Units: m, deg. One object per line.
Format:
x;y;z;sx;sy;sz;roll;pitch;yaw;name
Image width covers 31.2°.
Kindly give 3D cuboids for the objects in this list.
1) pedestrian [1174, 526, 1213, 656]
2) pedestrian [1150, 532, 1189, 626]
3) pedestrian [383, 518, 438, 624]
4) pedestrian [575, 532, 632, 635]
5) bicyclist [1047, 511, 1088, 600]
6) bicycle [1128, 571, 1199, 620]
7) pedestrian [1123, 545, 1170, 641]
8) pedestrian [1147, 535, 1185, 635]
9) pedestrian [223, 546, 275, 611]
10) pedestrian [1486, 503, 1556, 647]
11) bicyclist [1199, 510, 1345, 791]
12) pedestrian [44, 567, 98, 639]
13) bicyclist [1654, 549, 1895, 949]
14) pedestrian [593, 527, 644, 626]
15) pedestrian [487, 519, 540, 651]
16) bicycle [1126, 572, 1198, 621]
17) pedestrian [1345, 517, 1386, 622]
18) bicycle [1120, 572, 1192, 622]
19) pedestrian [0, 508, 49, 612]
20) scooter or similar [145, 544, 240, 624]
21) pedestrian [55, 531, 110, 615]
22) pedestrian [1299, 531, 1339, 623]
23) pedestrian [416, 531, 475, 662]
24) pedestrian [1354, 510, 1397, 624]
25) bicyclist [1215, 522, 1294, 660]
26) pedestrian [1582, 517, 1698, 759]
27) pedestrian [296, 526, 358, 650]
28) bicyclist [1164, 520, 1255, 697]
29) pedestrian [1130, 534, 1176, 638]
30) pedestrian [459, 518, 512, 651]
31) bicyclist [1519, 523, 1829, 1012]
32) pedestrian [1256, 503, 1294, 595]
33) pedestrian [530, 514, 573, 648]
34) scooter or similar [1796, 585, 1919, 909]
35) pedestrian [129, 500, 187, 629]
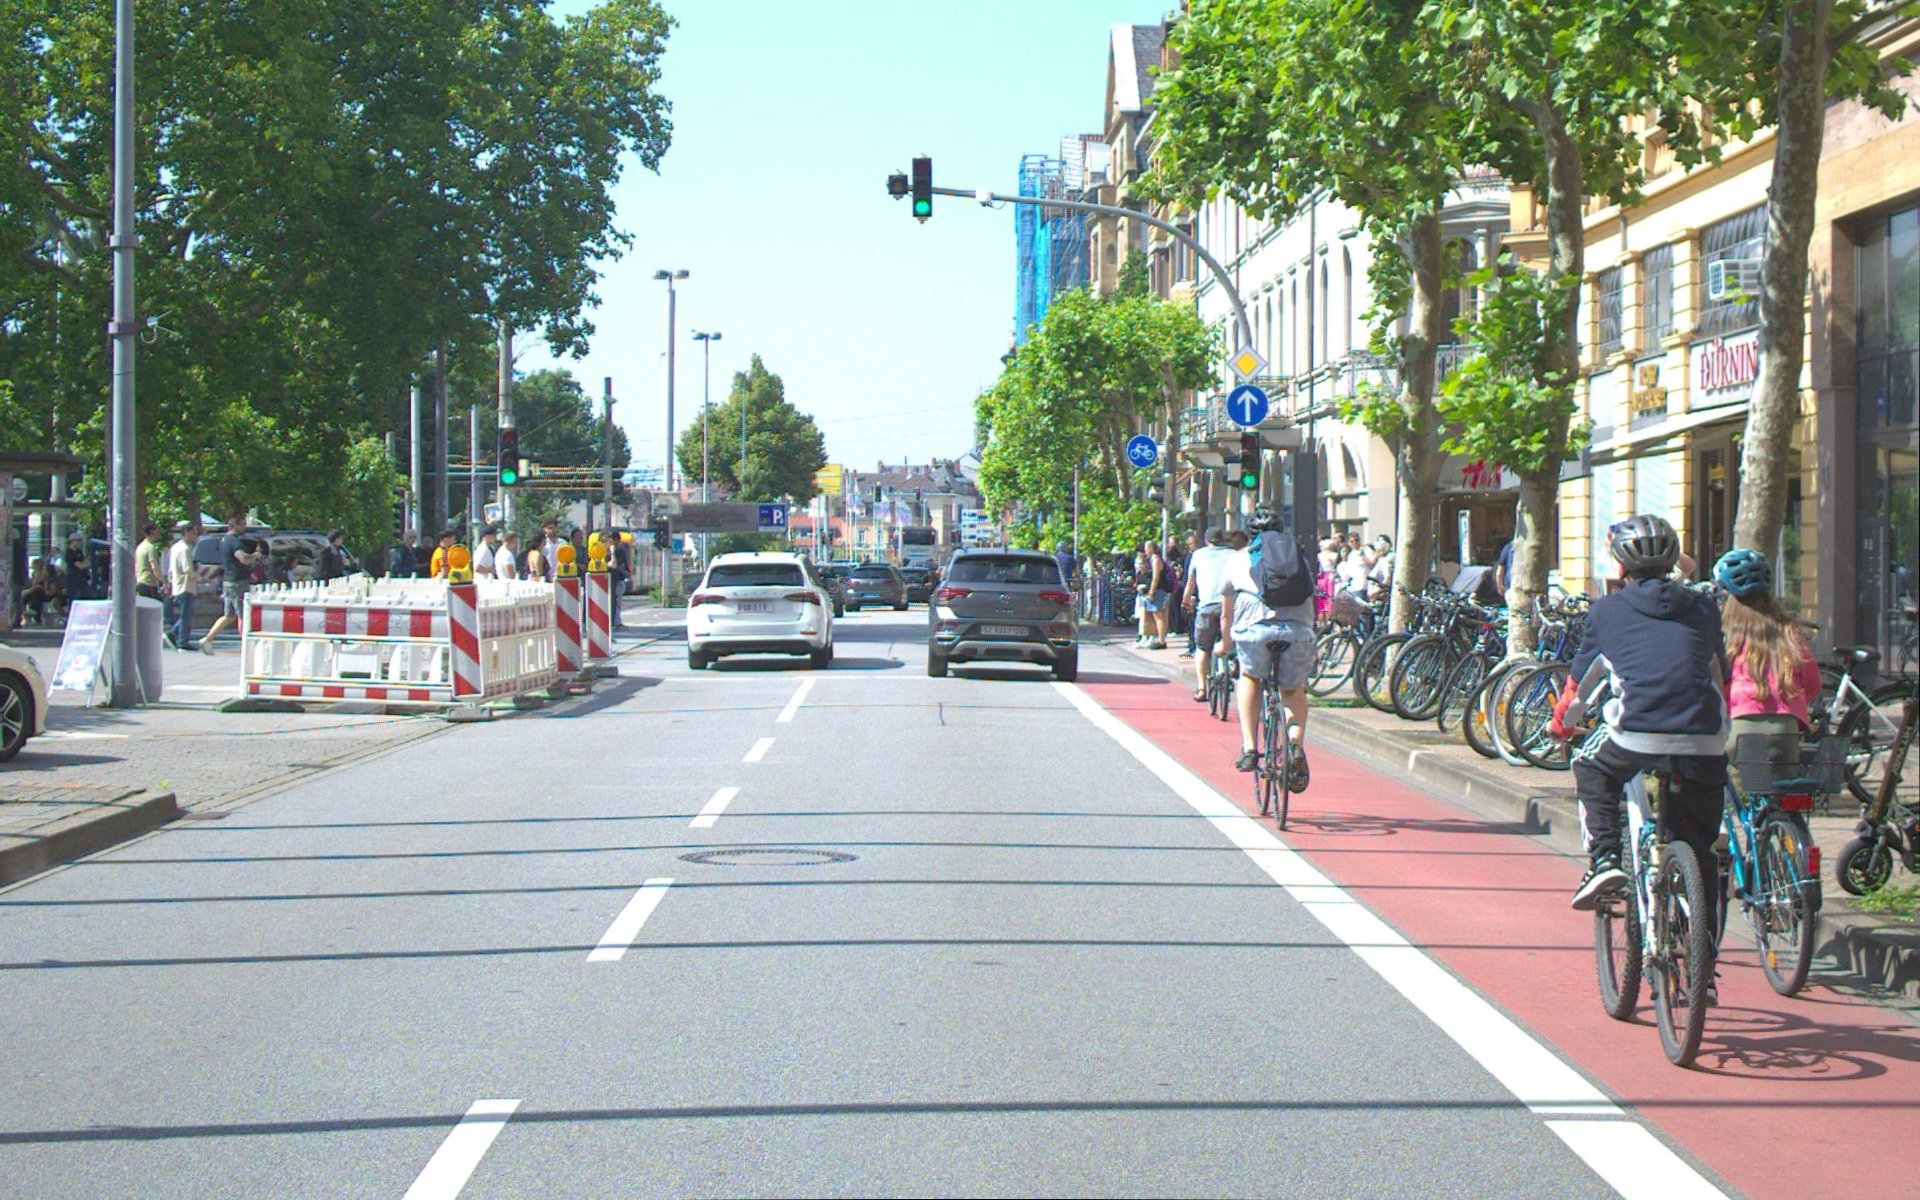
3.433;-0.137;50.543;0.523;1.891;0.641;-1;0;2;pedestrian
3.831;-0.384;62.880;0.582;1.668;0.605;-3;0;-2;pedestrian
-9.420;-0.492;58.928;0.633;1.804;0.730;1;0;20;pedestrian
-5.528;-0.254;53.327;0.633;1.590;0.686;1;0;20;pedestrian
1.878;-0.783;60.174;0.647;1.545;0.817;1;1;-1;bicyclist
4.196;-0.089;70.848;1.420;0.976;0.401;-1;1;0;bicycle
3.056;-0.116;56.302;0.610;1.510;0.678;-4;0;-2;pedestrian
3.749;-0.272;62.498;0.610;1.817;0.678;1;0;-2;pedestrian
-12.502;-0.375;60.488;0.633;1.140;0.664;1;0;20;pedestrian
7.086;-0.308;43.433;0.657;1.784;1.233;0;-1;-1;pedestrian
1.694;0.254;18.800;0.630;1.476;1.198;1;1;-2;bicyclist
-16.044;0.058;62.035;0.633;1.288;0.730;1;0;20;pedestrian
2.859;0.509;12.118;0.600;1.353;0.721;2;0;-4;bicyclist
-6.335;-0.436;63.835;0.633;1.828;0.730;1;0;29;pedestrian
-5.899;-0.201;45.410;0.429;1.734;0.606;2;0;-32;pedestrian
4.073;-0.072;69.464;1.420;0.976;0.445;-1;1;0;bicycle
6.295;-0.471;53.382;0.522;1.603;0.641;-1;0;-1;pedestrian
3.928;-0.065;69.002;1.420;0.976;0.445;-1;1;0;bicycle
-16.732;-0.704;61.243;0.633;1.804;0.614;-4;-1;19;pedestrian
-13.698;-0.288;61.371;1.278;1.416;1.037;1;0;30;scooter or similar
-15.584;-0.483;61.080;0.633;1.473;0.730;1;0;20;pedestrian
6.451;-0.414;61.811;0.610;1.613;0.678;1;2;-2;pedestrian
-6.856;-0.050;45.805;0.539;1.712;0.606;2;0;-32;pedestrian
6.002;-0.474;49.681;0.549;1.634;0.589;-1;0;2;pedestrian
3.876;-0.122;45.265;0.573;1.791;0.857;-2;2;-35;bicyclist
4.594;0.247;23.251;0.615;1.607;0.745;1;1;0;pedestrian
-9.553;-0.189;51.905;0.633;1.852;0.686;1;0;20;pedestrian
2.317;0.069;32.018;0.774;1.629;0.851;0;1;-1;bicyclist
3.295;-0.239;58.815;0.610;1.733;0.678;-4;0;-2;pedestrian
-6.424;-0.211;46.583;0.539;1.773;0.606;2;0;5;pedestrian
2.183;0.494;10.596;0.698;1.436;0.791;2;1;-4;bicyclist
6.182;-0.994;67.420;0.675;1.785;0.612;0;0;-1;pedestrian
-5.897;-0.271;49.620;0.532;1.912;0.560;1;0;1;pedestrian
4.184;0.600;13.914;1.475;1.270;0.669;2;1;10;scooter or similar
-10.997;-0.493;47.168;0.584;1.715;0.789;1;5;1;pedestrian
